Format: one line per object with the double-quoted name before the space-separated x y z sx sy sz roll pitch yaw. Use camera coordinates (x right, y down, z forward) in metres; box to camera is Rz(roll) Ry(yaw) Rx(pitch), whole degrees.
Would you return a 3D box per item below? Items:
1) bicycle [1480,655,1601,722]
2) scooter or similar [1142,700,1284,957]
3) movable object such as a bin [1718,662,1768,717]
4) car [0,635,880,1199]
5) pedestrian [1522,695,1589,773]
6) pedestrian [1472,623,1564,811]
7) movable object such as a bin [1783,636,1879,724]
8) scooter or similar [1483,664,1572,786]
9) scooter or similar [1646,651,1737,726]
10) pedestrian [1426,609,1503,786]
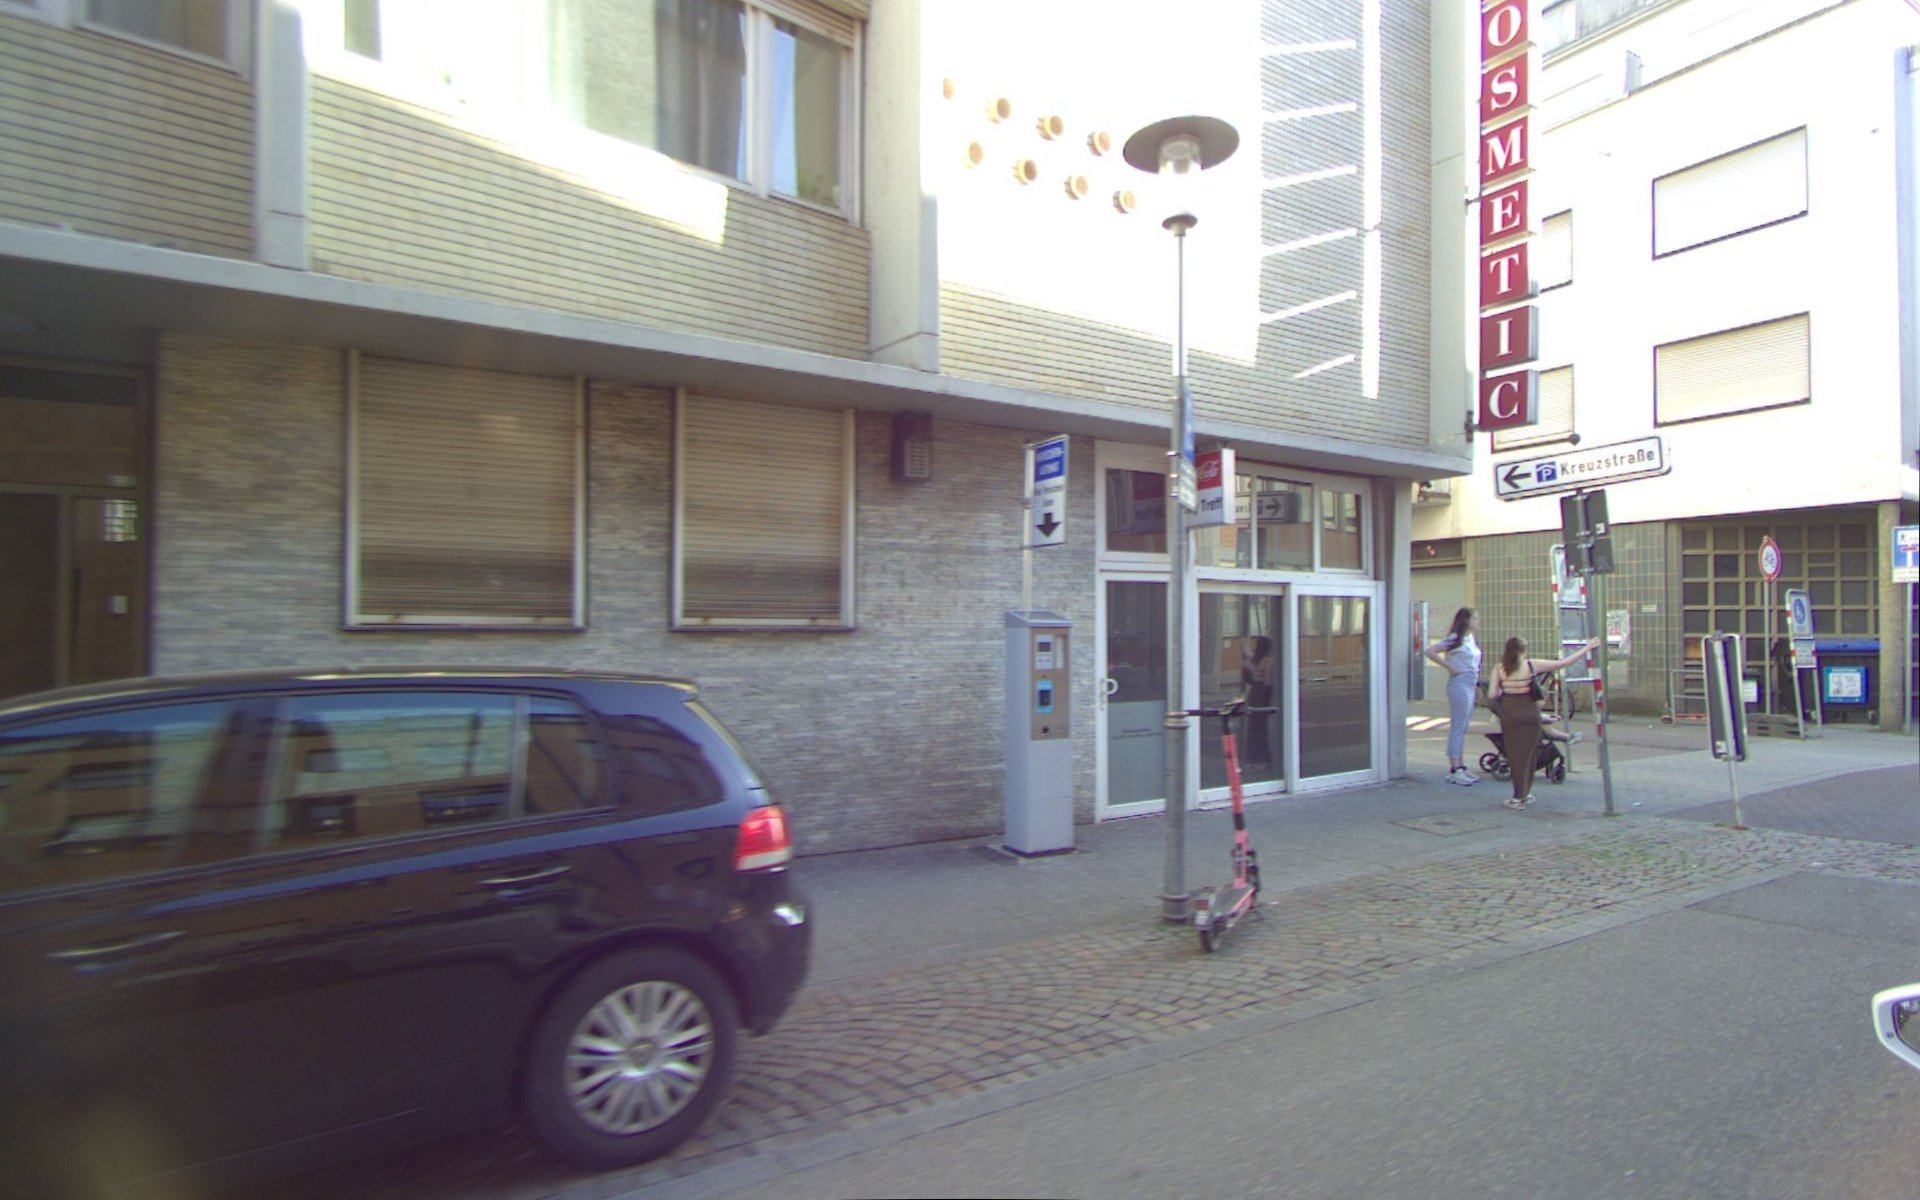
"bicycle" 10.915 1.634 18.941 0.709 1.173 1.863 1 -3 -29
"scooter or similar" 1.414 1.181 5.521 0.406 1.213 1.119 -5 -5 29
"movable object such as a bin" 14.122 1.607 18.126 0.526 0.914 0.526 2 0 12
"car" -2.371 0.879 2.960 3.954 1.479 1.640 1 -4 -32
"pedestrian" 6.230 1.388 10.533 0.573 0.724 0.646 -1 -1 29
"pedestrian" 5.052 1.030 9.119 0.634 1.647 0.457 0 -1 18
"movable object such as a bin" 15.139 1.369 17.484 0.915 1.438 0.885 2 0 12
"scooter or similar" 6.025 1.297 10.688 0.778 1.177 0.634 2 0 29
"scooter or similar" 12.510 1.488 17.202 0.474 1.222 1.152 1 -3 -30
"pedestrian" 5.146 0.976 10.259 0.542 1.761 0.448 0 -1 -8
